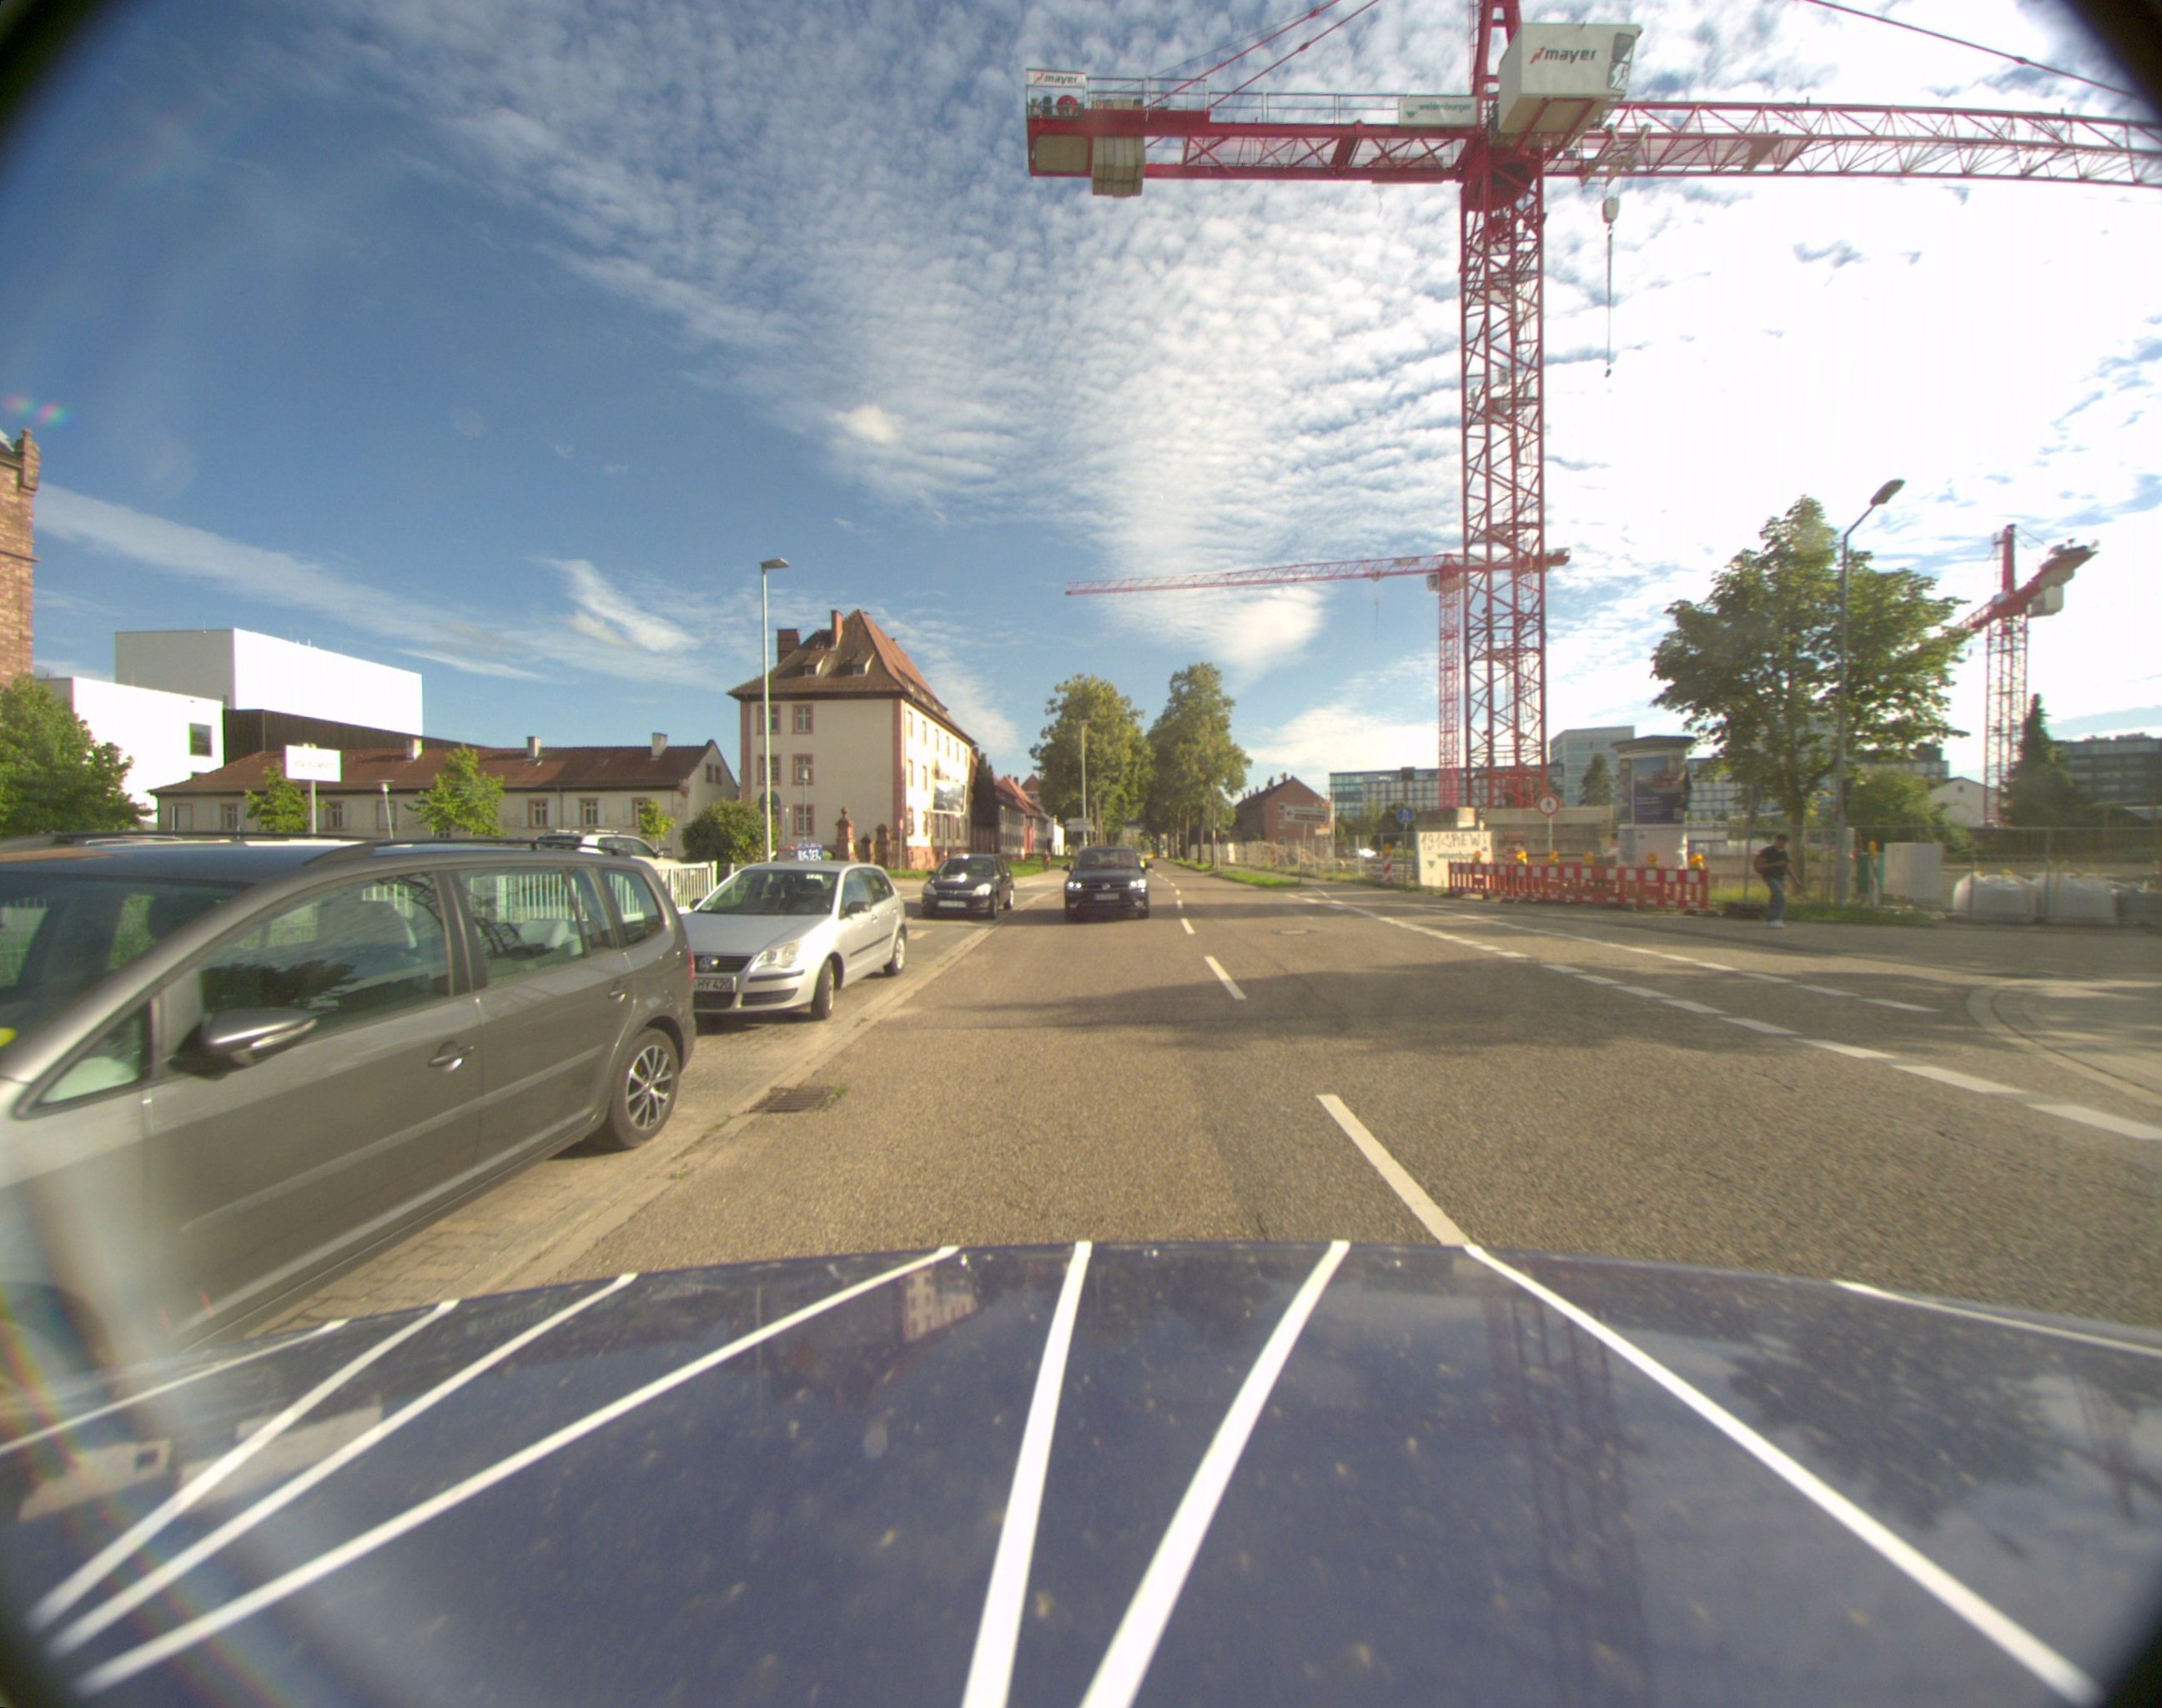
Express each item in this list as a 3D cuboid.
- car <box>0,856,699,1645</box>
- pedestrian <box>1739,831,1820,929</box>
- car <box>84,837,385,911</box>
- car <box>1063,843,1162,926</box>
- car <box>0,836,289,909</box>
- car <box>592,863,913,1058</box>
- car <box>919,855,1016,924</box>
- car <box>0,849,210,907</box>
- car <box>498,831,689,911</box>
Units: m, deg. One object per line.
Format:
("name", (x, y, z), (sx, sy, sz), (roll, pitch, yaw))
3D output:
("car", (-3.161, 0.874, 2.442), (1.677, 1.639, 4.204), (2, 1, 1))
("pedestrian", (12.853, 0.459, 14.000), (0.743, 1.758, 0.775), (0, 1, -2))
("car", (-21.957, 0.446, 20.133), (2.180, 1.709, 4.990), (0, 1, 5))
("car", (0.859, 0.618, 17.760), (1.858, 1.673, 4.002), (-2, 1, 8))
("car", (-24.760, 0.413, 20.174), (2.180, 1.709, 4.817), (0, 1, 5))
("car", (-3.101, 0.888, 8.148), (1.662, 1.477, 4.000), (0, 1, 1))
("car", (-2.680, 0.782, 18.789), (1.662, 1.477, 4.000), (1, 1, 2))
("car", (-28.008, 0.600, 20.984), (2.180, 1.438, 4.817), (0, 1, 5))
("car", (-11.603, 0.351, 18.486), (1.888, 1.709, 4.091), (0, 1, 2))
